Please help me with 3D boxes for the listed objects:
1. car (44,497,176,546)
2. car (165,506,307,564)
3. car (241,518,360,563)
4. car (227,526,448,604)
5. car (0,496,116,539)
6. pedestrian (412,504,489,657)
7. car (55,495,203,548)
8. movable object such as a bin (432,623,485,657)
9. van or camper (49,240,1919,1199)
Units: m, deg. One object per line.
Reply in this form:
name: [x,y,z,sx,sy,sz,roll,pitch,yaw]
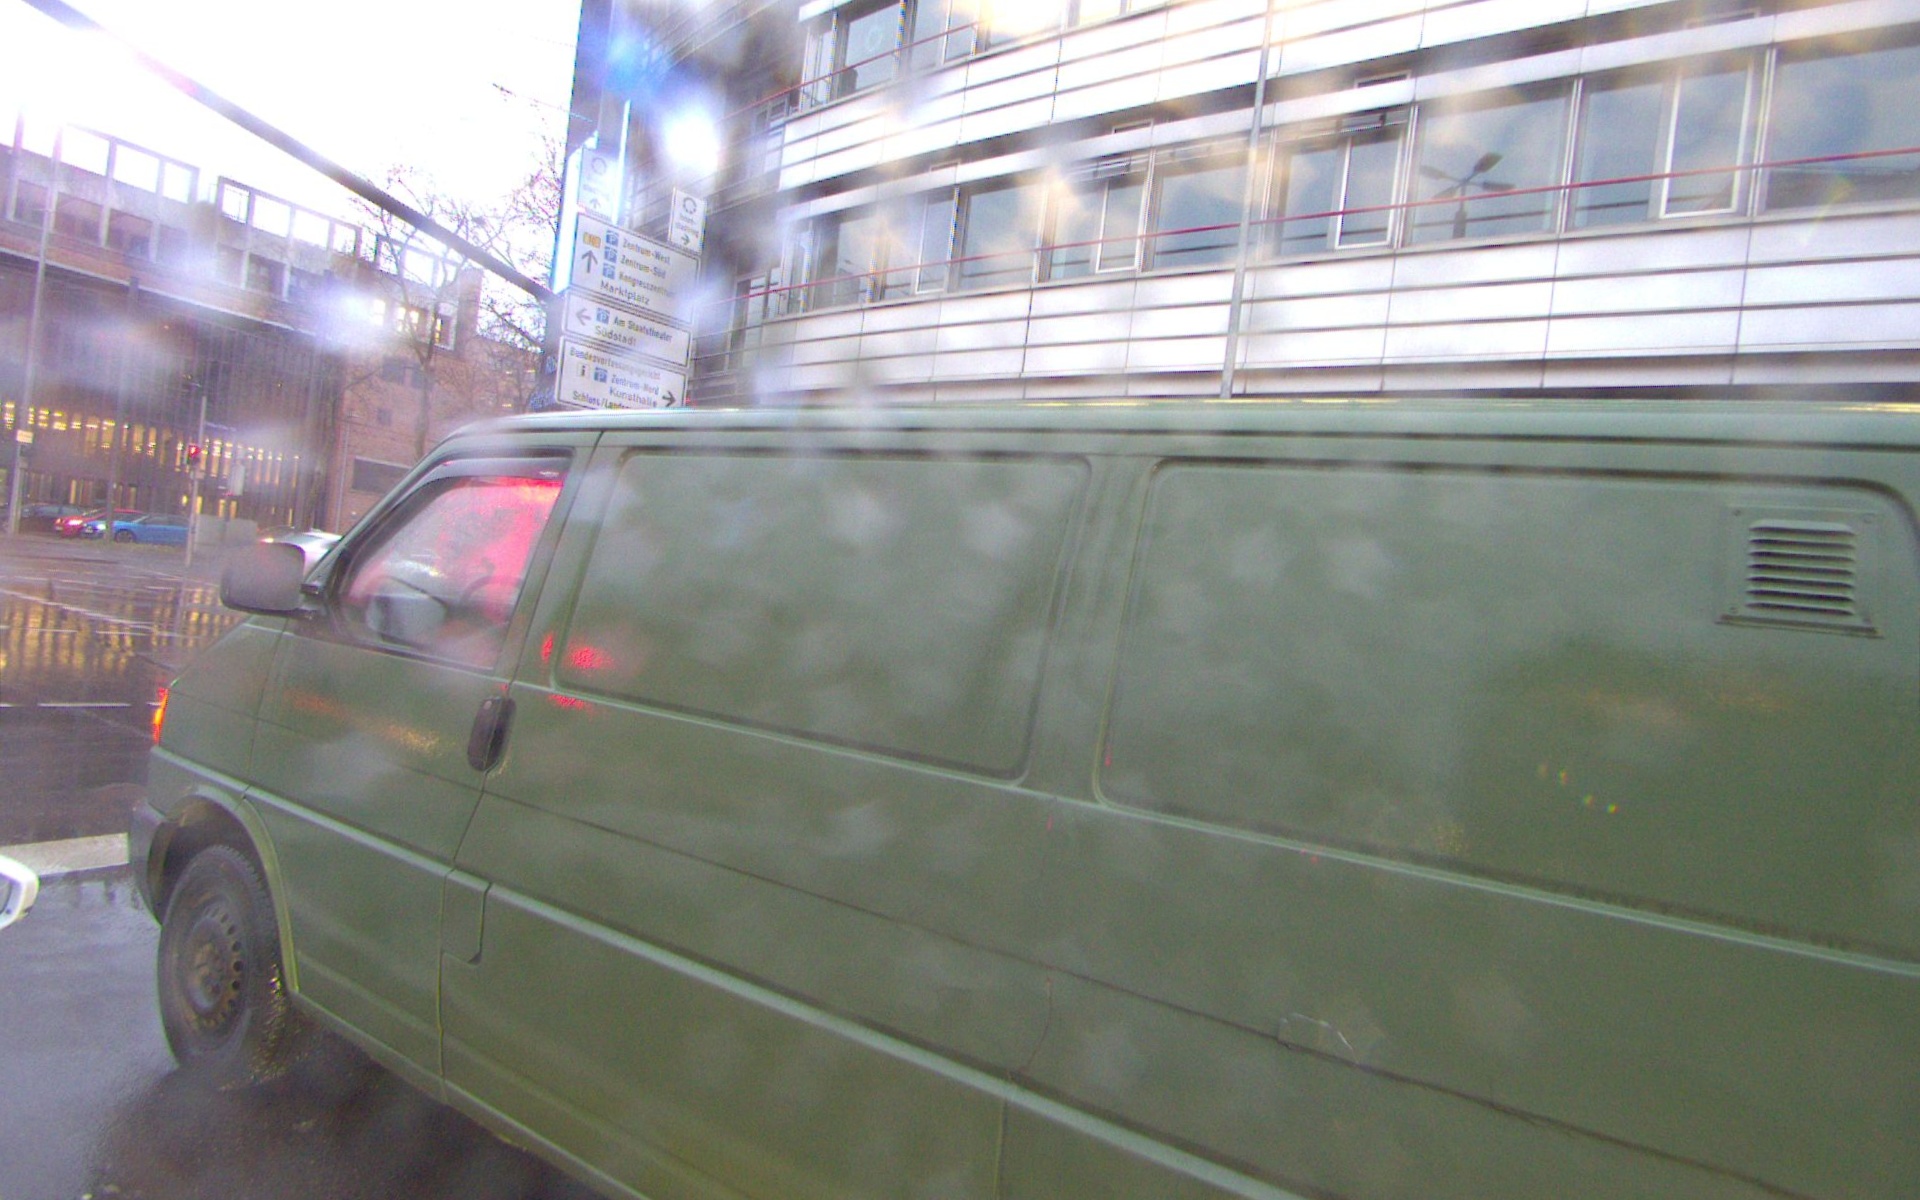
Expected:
car: [-35.475,-3.250,42.096,1.814,1.278,3.729,11,1,26]
car: [-28.296,-2.511,39.437,1.814,1.523,3.997,11,1,26]
car: [-29.628,-2.660,45.300,1.814,1.304,3.997,11,1,26]
car: [-17.262,-0.917,28.192,2.014,1.580,4.829,7,0,26]
car: [-39.203,-3.564,43.204,1.965,1.326,3.994,7,0,28]
pedestrian: [-7.697,-0.285,15.198,0.609,2.210,0.576,6,0,26]
car: [-32.432,-3.035,39.378,1.814,1.278,3.997,11,1,26]
movable object such as a bin: [-7.965,0.642,15.991,0.306,0.475,0.679,6,-1,26]
van or camper: [-0.322,0.532,2.623,4.345,1.929,1.760,7,-1,32]
